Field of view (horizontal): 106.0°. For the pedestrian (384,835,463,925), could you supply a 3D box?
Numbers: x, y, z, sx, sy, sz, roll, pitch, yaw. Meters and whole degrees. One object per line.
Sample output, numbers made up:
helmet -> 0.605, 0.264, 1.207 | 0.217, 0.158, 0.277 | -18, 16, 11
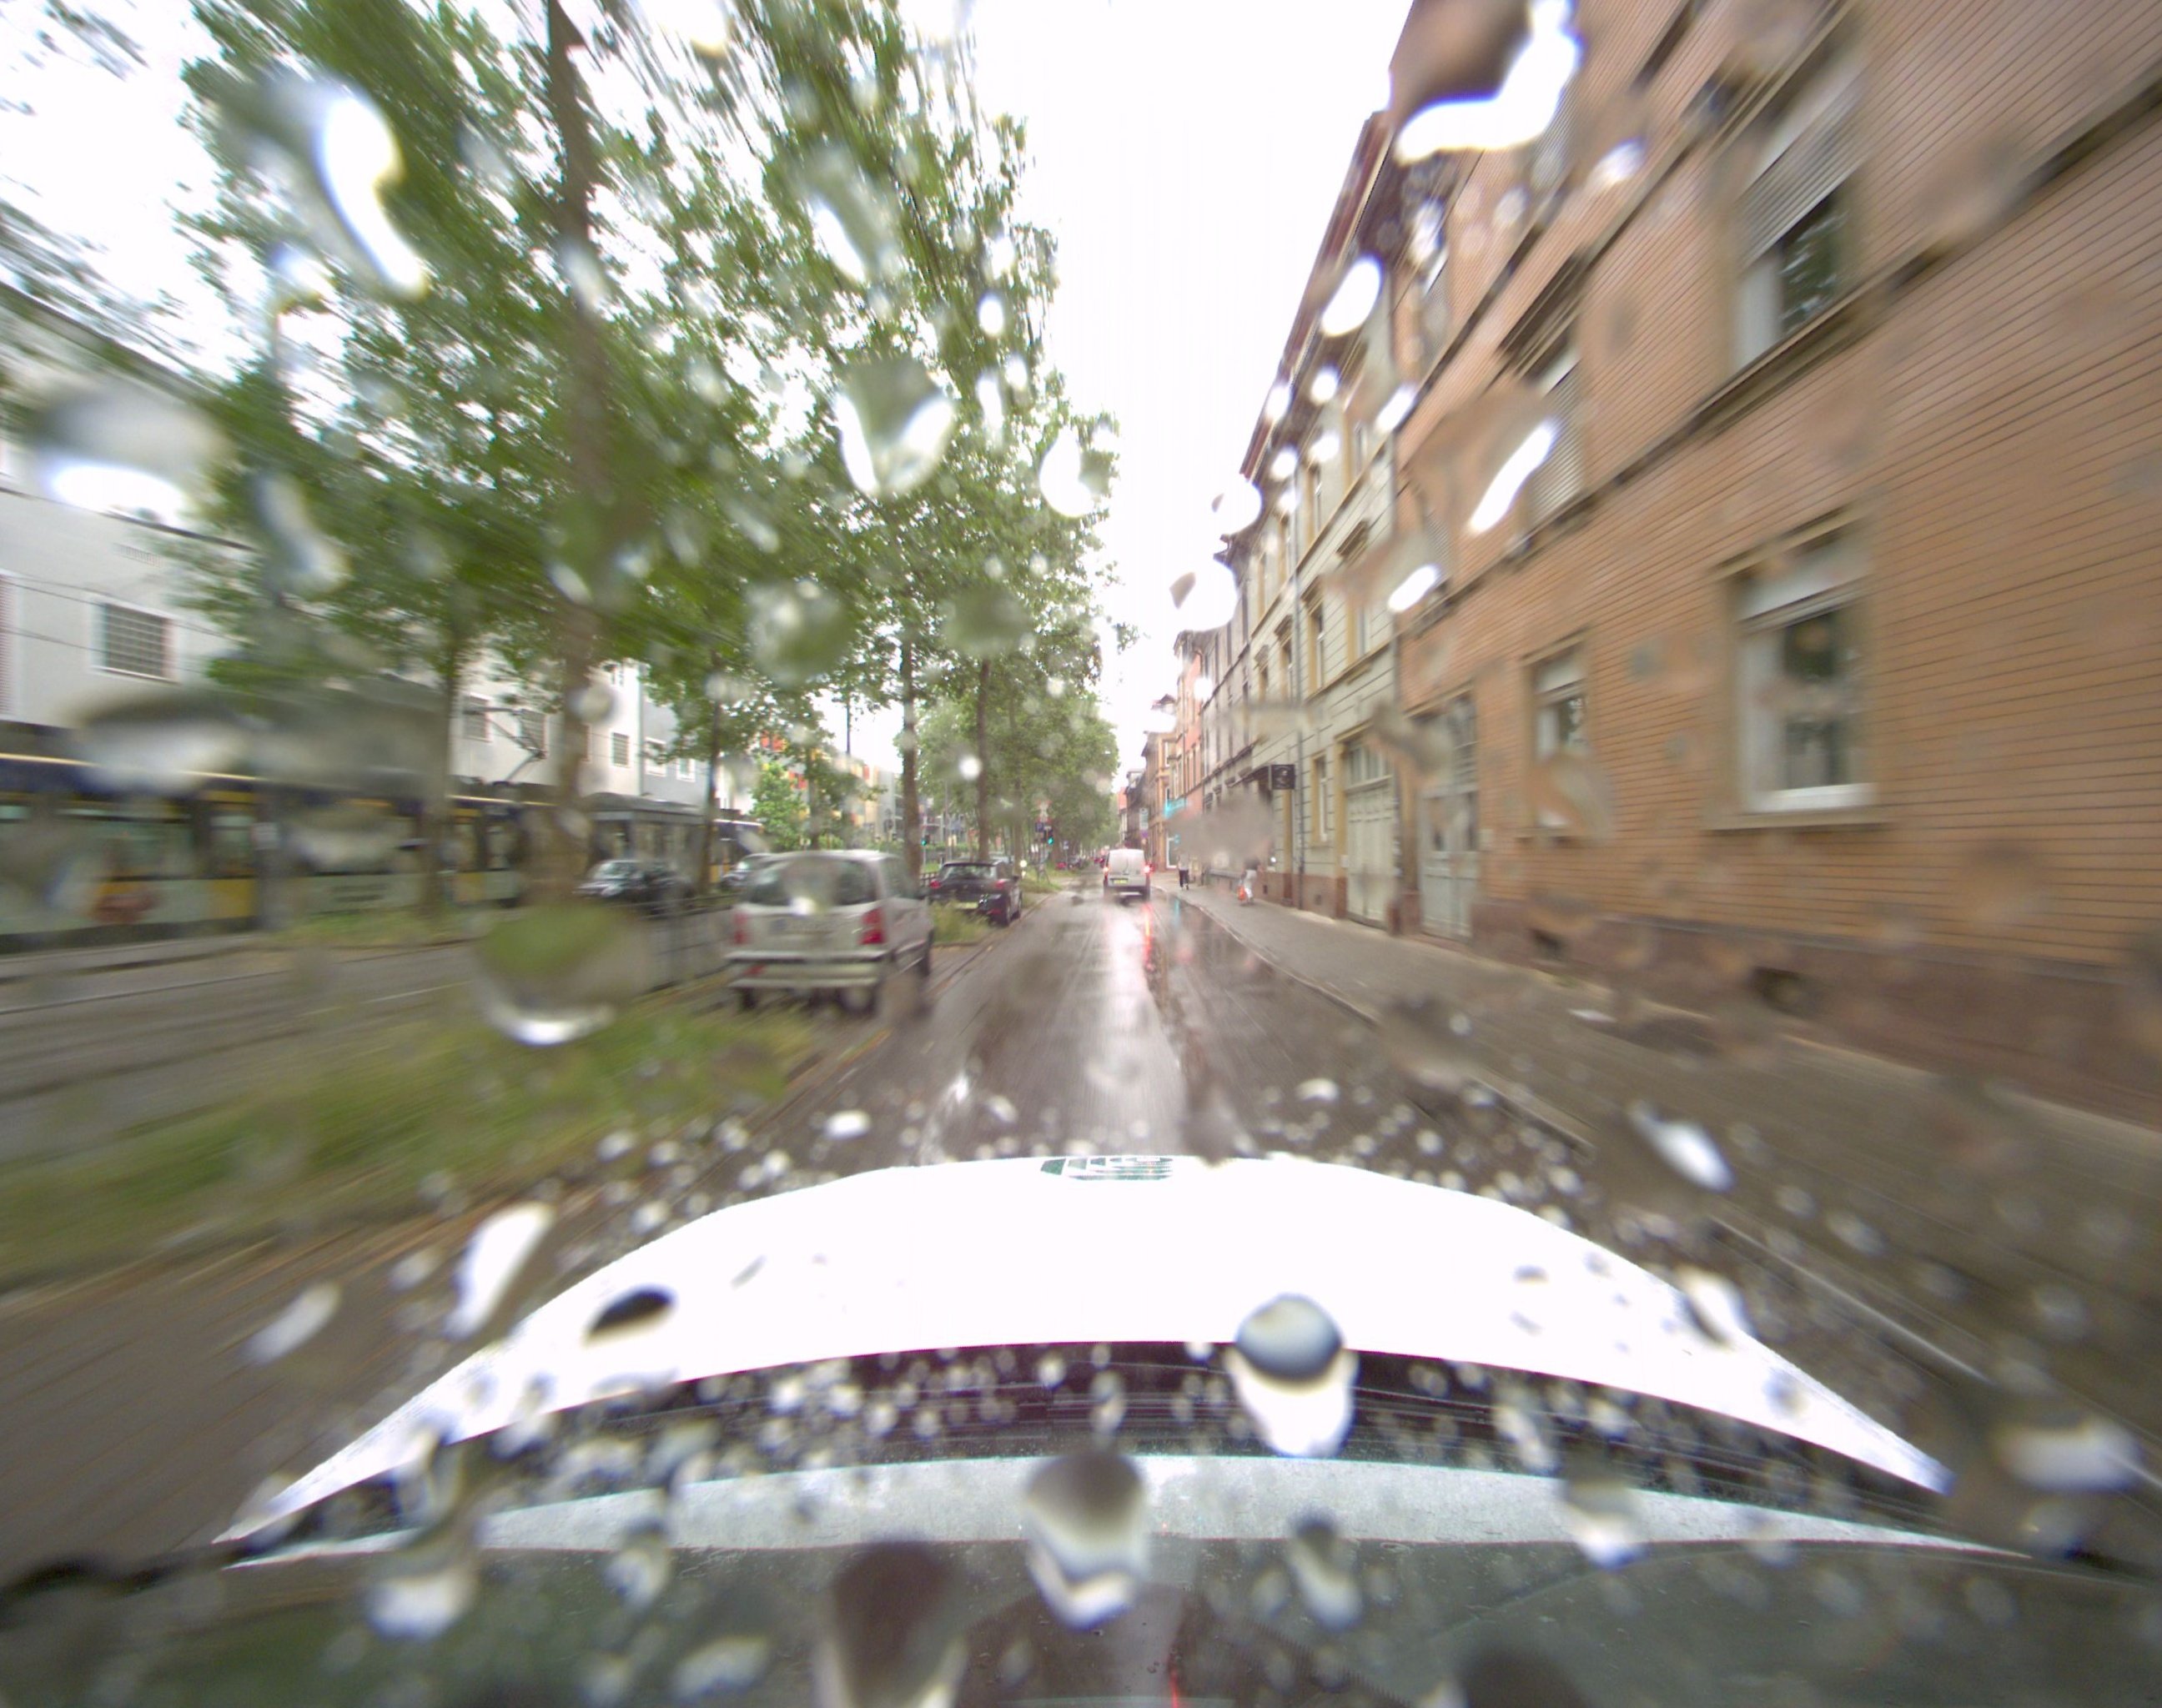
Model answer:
pedestrian -> -12.804, 0.491, 15.876 | 0.815, 1.703, 0.872 | 0, 0, 0

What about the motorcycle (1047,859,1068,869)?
motorcycle -> -2.040, 0.833, 70.434 | 1.697, 0.864, 0.578 | 0, 0, 6

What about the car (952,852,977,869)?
car -> -10.268, 0.561, 71.999 | 1.991, 1.415, 3.992 | 0, 0, -5

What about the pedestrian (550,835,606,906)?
pedestrian -> -12.258, 0.397, 19.887 | 0.815, 1.703, 0.872 | 0, 0, 0

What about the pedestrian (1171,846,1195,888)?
pedestrian -> 4.436, 0.555, 35.587 | 0.837, 1.716, 1.108 | -4, 0, 1

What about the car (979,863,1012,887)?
car -> -6.298, 1.517, 60.238 | 1.991, 1.613, 4.000 | 0, 0, 0

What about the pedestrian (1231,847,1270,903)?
pedestrian -> 4.833, 0.589, 23.273 | 0.837, 1.511, 1.108 | -3, 0, 1

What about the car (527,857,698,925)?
car -> -10.772, 0.798, 19.070 | 1.733, 1.343, 3.756 | 2, 0, 0

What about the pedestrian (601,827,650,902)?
pedestrian -> -12.427, 0.282, 22.236 | 0.865, 2.013, 0.821 | 0, 0, 4

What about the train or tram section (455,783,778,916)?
train or tram section -> -15.315, 0.058, 29.407 | 3.095, 3.558, 14.674 | -1, -1, 1

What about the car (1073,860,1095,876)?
car -> 0.352, 1.341, 78.943 | 1.986, 1.387, 4.003 | 0, 0, 2

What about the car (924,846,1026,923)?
car -> -2.265, 0.624, 18.430 | 1.643, 1.500, 4.120 | 1, 0, 1

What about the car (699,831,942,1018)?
car -> -2.645, 0.615, 9.145 | 1.619, 1.681, 3.657 | 0, 1, -1

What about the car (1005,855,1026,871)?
car -> -6.686, 0.920, 83.222 | 1.992, 1.613, 4.120 | 0, 0, -2

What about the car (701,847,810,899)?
car -> -10.694, 0.579, 27.107 | 1.987, 1.613, 4.000 | 0, 0, 0

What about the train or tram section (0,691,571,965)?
train or tram section -> -15.511, -0.217, 14.748 | 3.095, 3.558, 14.579 | -1, -1, 1

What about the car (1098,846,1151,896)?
car -> 1.651, 0.659, 31.717 | 1.896, 1.797, 4.114 | 0, -1, 2
